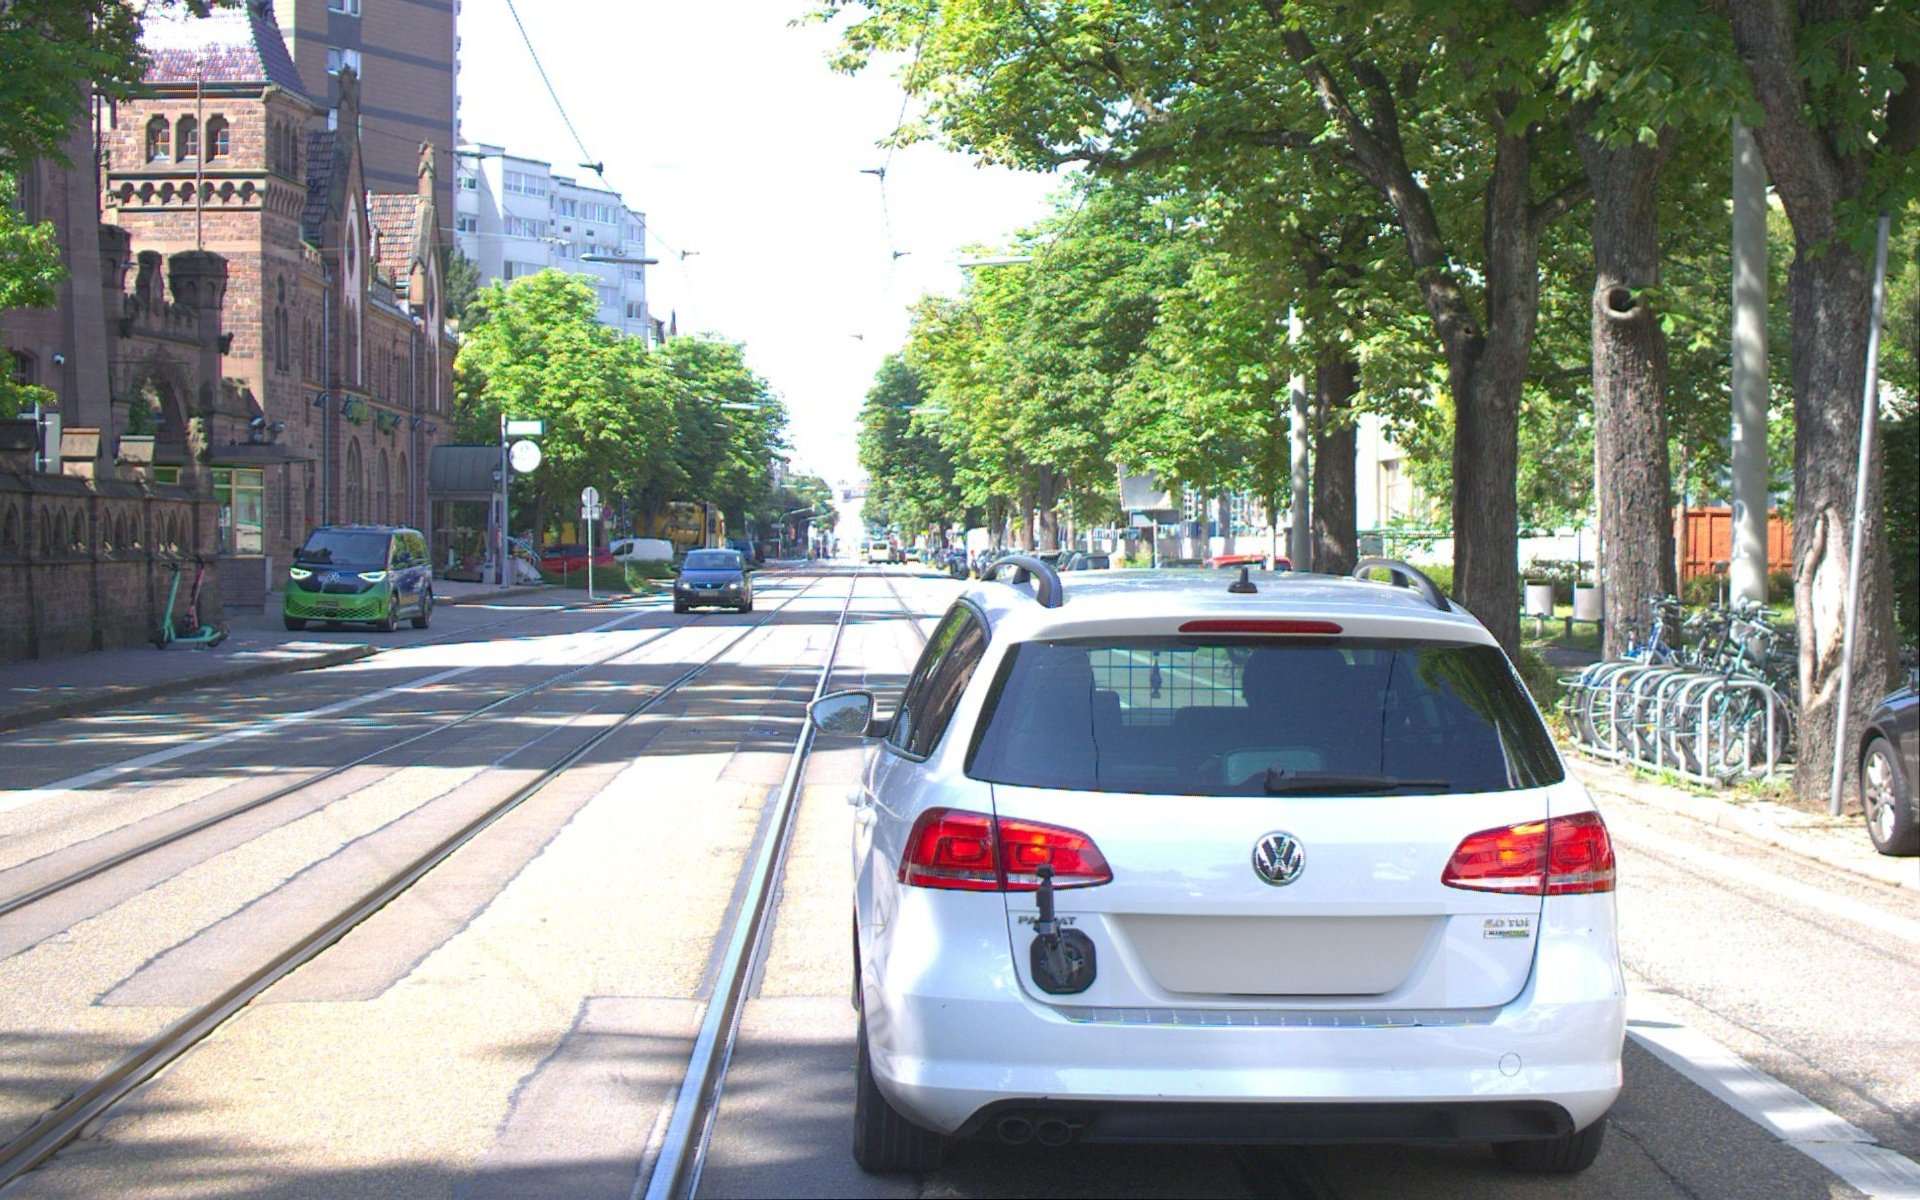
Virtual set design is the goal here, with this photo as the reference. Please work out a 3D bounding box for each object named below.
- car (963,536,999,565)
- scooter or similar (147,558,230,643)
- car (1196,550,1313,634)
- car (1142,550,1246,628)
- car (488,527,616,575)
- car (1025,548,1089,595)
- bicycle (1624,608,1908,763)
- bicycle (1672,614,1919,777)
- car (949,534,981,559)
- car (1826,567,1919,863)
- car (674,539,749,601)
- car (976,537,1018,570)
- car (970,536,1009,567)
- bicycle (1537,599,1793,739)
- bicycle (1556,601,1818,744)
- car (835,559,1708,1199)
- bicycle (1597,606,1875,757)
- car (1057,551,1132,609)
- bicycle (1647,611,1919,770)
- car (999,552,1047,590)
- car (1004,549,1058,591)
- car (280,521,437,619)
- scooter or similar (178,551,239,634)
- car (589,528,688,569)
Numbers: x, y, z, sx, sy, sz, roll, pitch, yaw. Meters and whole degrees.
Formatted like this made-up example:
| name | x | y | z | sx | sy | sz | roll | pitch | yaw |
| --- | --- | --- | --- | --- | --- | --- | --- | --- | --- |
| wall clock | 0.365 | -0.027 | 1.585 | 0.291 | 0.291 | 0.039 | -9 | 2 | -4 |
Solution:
| name | x | y | z | sx | sy | sz | roll | pitch | yaw |
| --- | --- | --- | --- | --- | --- | --- | --- | --- | --- |
| car | 1.021 | -2.452 | 170.257 | 1.713 | 1.396 | 3.843 | 0 | 1 | -1 |
| scooter or similar | -10.534 | -0.001 | 46.954 | 0.405 | 1.151 | 1.141 | 1 | 1 | 33 |
| car | 4.675 | -0.146 | 54.908 | 1.713 | 1.276 | 3.843 | 0 | 1 | 3 |
| car | 4.353 | -0.226 | 64.399 | 1.713 | 1.396 | 3.843 | 0 | 1 | 0 |
| car | -14.519 | -1.750 | 122.387 | 4.116 | 1.525 | 1.933 | 2 | 1 | -22 |
| car | 2.925 | -0.870 | 104.584 | 1.713 | 1.396 | 3.843 | 0 | 1 | -2 |
| bicycle | 5.379 | 0.566 | 22.971 | 1.787 | 1.007 | 0.488 | 0 | 1 | -6 |
| bicycle | 5.467 | 0.598 | 21.813 | 1.787 | 1.007 | 0.488 | 0 | 1 | -6 |
| car | 0.283 | -2.985 | 191.369 | 1.713 | 1.396 | 3.843 | 0 | 1 | -1 |
| car | 5.568 | 0.587 | 16.342 | 1.664 | 1.439 | 4.634 | 0 | 1 | -1 |
| car | -5.654 | -0.709 | 78.620 | 1.493 | 1.380 | 3.643 | 0 | 1 | -1 |
| car | 1.603 | -2.039 | 149.785 | 1.713 | 1.396 | 3.843 | 0 | 1 | -1 |
| car | 1.373 | -2.283 | 161.015 | 1.713 | 1.396 | 3.843 | 0 | 1 | -1 |
| bicycle | 5.192 | 0.501 | 25.344 | 1.787 | 1.007 | 0.488 | 0 | 1 | -6 |
| bicycle | 5.245 | 0.515 | 24.825 | 1.787 | 1.007 | 0.488 | 0 | 1 | -6 |
| car | 0.563 | 0.631 | 9.247 | 1.753 | 1.437 | 4.413 | 0 | 0 | -2 |
| bicycle | 5.310 | 0.550 | 23.552 | 1.787 | 1.007 | 0.488 | 0 | 1 | -6 |
| car | 3.375 | -0.517 | 86.701 | 1.713 | 1.396 | 3.843 | 0 | 1 | -1 |
| bicycle | 5.420 | 0.582 | 22.395 | 1.787 | 1.007 | 0.488 | 0 | 1 | -6 |
| car | 2.371 | -1.122 | 130.048 | 1.713 | 1.396 | 3.843 | 0 | 1 | -1 |
| car | 2.417 | -1.033 | 117.077 | 1.713 | 1.396 | 3.843 | 0 | 1 | -1 |
| car | -11.057 | -0.576 | 63.485 | 1.993 | 1.751 | 4.712 | 0 | 1 | 1 |
| scooter or similar | -11.023 | -0.122 | 50.451 | 0.423 | 1.196 | 1.142 | 0 | 1 | 13 |
| car | -14.529 | -2.339 | 155.546 | 3.988 | 1.809 | 2.000 | -1 | 1 | -37 |
